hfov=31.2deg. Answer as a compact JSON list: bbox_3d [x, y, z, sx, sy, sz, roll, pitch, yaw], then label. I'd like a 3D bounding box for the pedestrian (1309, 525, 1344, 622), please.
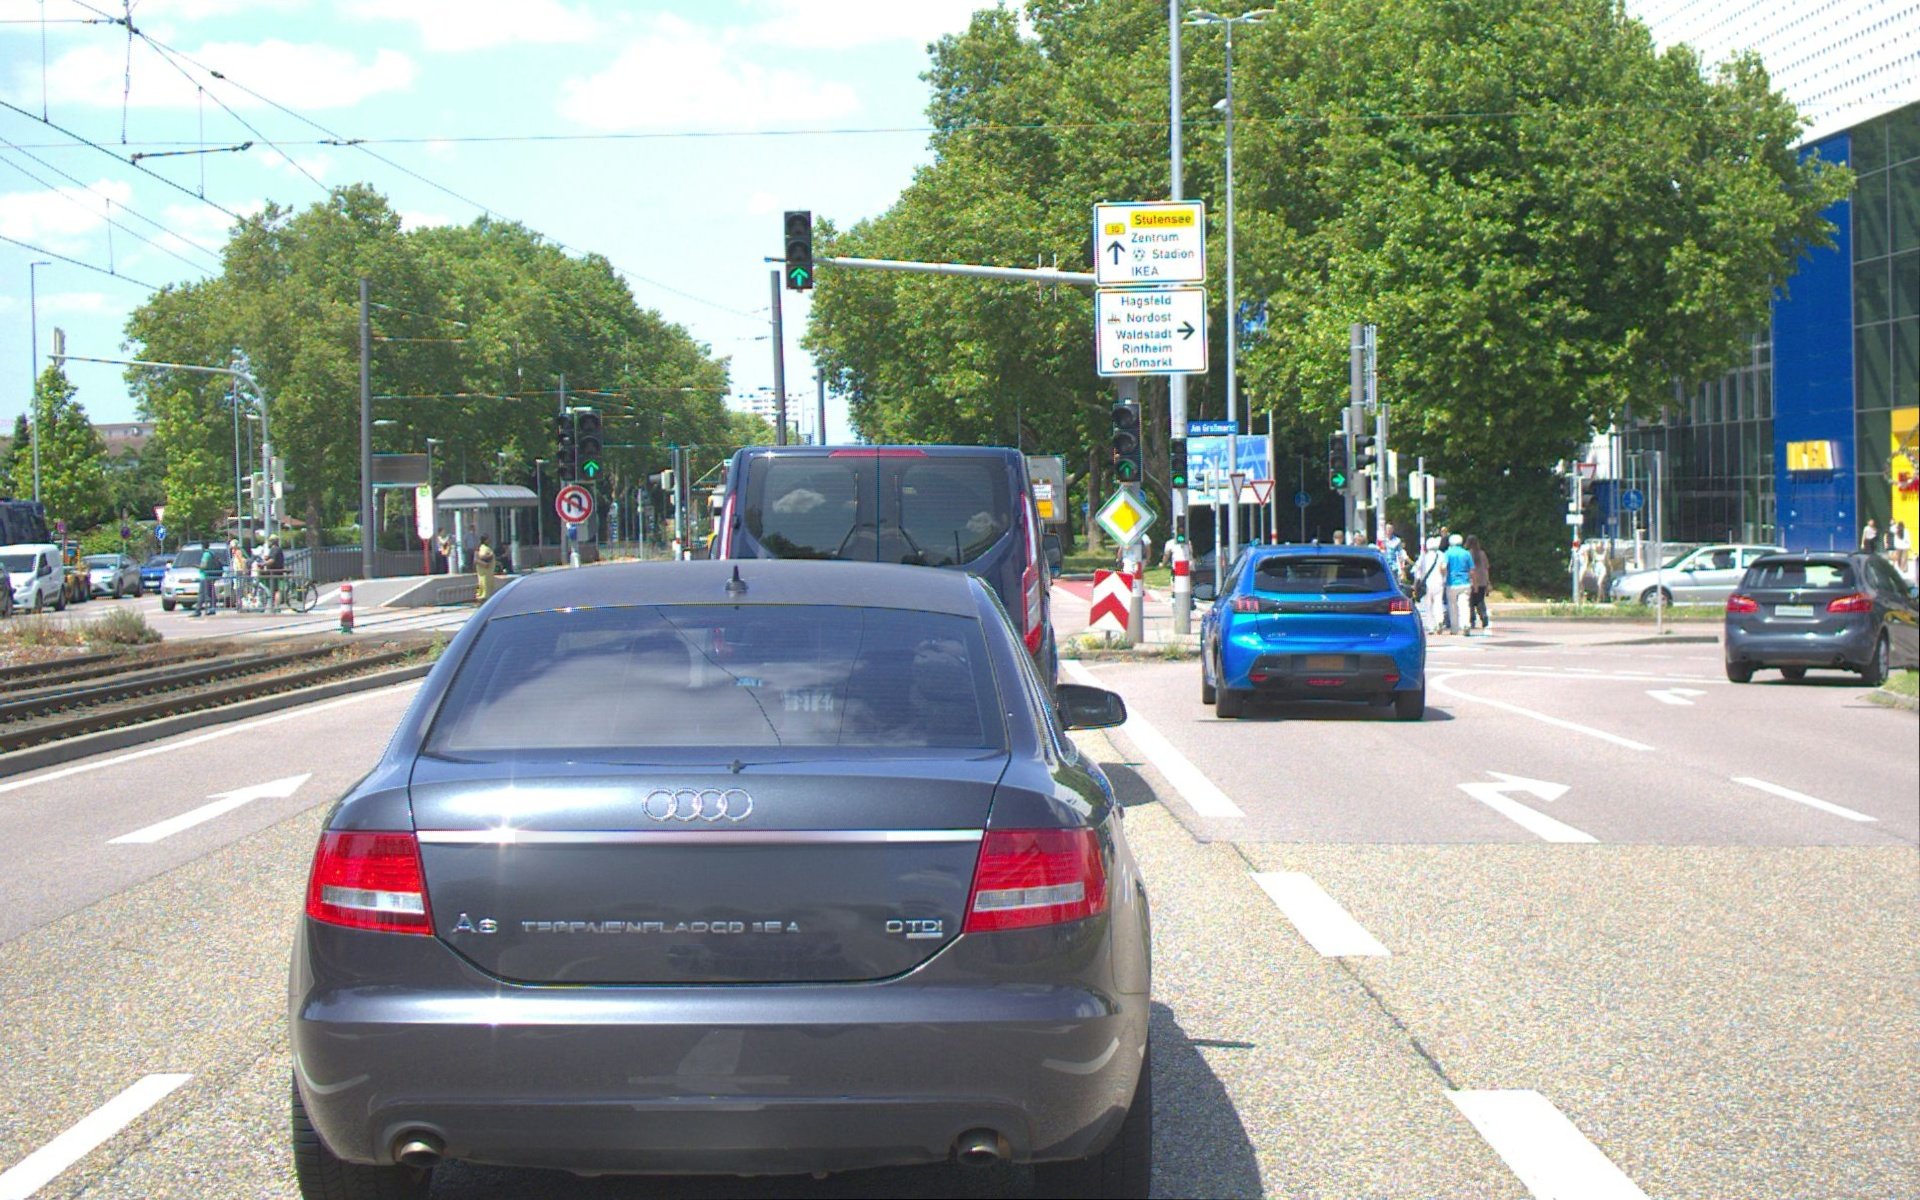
[{"bbox_3d":[6.142,-0.447,57.654,0.554,1.629,0.433,0,1,3],"label":"pedestrian"}]

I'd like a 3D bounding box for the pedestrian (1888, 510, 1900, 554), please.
[{"bbox_3d":[28.469,-2.075,104.790,0.288,1.338,0.266,0,1,0],"label":"pedestrian"}]

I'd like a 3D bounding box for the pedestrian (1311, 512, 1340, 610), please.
[{"bbox_3d":[6.112,-0.651,57.492,0.445,1.629,0.430,0,1,3],"label":"pedestrian"}]

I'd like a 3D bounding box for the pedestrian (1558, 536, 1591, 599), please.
[{"bbox_3d":[15.310,-0.814,85.620,0.705,1.539,0.677,1,1,19],"label":"pedestrian"}]

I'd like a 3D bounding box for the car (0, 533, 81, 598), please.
[{"bbox_3d":[-25.015,-0.941,91.875,1.822,1.664,4.461,1,1,1],"label":"car"}]

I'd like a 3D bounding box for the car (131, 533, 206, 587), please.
[{"bbox_3d":[-28.319,-1.439,123.052,1.817,1.876,4.000,0,1,-1],"label":"car"}]

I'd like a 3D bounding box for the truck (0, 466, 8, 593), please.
[{"bbox_3d":[-28.350,-1.942,94.246,2.767,3.557,6.440,0,1,-1],"label":"truck"}]

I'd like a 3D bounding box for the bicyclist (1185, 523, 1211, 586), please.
[{"bbox_3d":[4.482,-0.855,64.766,0.470,1.189,0.791,0,1,2],"label":"bicyclist"}]

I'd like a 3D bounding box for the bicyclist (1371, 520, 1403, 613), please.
[{"bbox_3d":[8.144,-0.646,65.597,0.529,1.758,0.827,0,1,13],"label":"bicyclist"}]

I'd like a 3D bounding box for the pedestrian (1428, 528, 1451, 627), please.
[{"bbox_3d":[7.882,-0.369,56.528,0.320,1.629,0.377,0,1,3],"label":"pedestrian"}]

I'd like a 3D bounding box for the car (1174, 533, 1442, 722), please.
[{"bbox_3d":[2.912,0.184,29.545,1.837,1.449,4.000,1,1,0],"label":"car"}]

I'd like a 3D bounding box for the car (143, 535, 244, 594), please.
[{"bbox_3d":[-22.677,-1.060,101.880,1.822,1.664,4.461,1,1,2],"label":"car"}]

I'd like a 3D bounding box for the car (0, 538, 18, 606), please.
[{"bbox_3d":[-24.826,-0.693,85.028,1.822,1.664,4.461,1,1,0],"label":"car"}]

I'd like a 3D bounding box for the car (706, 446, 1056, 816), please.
[{"bbox_3d":[-0.441,0.130,20.082,1.836,1.943,4.000,0,1,-1],"label":"car"}]

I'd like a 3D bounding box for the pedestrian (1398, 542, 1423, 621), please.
[{"bbox_3d":[7.410,-0.311,56.584,0.372,1.299,0.365,0,1,3],"label":"pedestrian"}]

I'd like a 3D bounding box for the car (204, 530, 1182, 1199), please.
[{"bbox_3d":[-0.502,0.572,8.337,1.792,1.450,4.000,0,1,0],"label":"car"}]

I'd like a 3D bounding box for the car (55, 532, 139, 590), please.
[{"bbox_3d":[-28.449,-1.289,113.405,1.817,1.876,4.000,0,1,-1],"label":"car"}]

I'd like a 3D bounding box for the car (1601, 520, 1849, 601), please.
[{"bbox_3d":[15.157,-0.806,68.310,4.498,1.481,2.000,1,1,3],"label":"car"}]

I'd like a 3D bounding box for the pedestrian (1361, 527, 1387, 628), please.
[{"bbox_3d":[6.715,-0.372,55.719,0.381,1.629,0.377,0,1,3],"label":"pedestrian"}]

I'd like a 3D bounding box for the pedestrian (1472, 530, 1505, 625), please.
[{"bbox_3d":[9.307,-0.401,60.549,0.521,1.664,0.494,0,1,3],"label":"pedestrian"}]

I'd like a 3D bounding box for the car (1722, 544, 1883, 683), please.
[{"bbox_3d":[9.920,0.117,40.686,1.762,1.521,4.097,0,1,13],"label":"car"}]

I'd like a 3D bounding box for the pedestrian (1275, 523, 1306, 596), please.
[{"bbox_3d":[6.907,-0.841,71.842,0.494,1.514,0.706,1,1,17],"label":"pedestrian"}]

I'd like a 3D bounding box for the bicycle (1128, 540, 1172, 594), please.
[{"bbox_3d":[3.637,-0.640,65.932,0.688,0.990,2.752,0,1,0],"label":"bicycle"}]

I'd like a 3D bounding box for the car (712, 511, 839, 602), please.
[{"bbox_3d":[-3.170,-0.781,59.838,1.993,1.481,4.000,1,1,0],"label":"car"}]

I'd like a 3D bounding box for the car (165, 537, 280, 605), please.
[{"bbox_3d":[-18.899,-0.770,88.282,1.822,1.664,4.461,1,1,2],"label":"car"}]

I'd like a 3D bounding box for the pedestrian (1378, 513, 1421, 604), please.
[{"bbox_3d":[8.967,-0.855,70.151,0.685,1.840,0.706,1,1,25],"label":"pedestrian"}]

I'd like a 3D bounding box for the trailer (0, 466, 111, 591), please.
[{"bbox_3d":[-28.452,-2.118,102.111,2.767,3.506,15.879,0,1,-1],"label":"trailer"}]

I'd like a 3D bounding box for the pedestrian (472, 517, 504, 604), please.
[{"bbox_3d":[-10.927,-0.913,79.610,0.685,2.007,0.573,0,1,-4],"label":"pedestrian"}]

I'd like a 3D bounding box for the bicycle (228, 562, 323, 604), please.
[{"bbox_3d":[-15.263,-0.384,76.711,2.055,0.922,0.753,0,1,-10],"label":"bicycle"}]

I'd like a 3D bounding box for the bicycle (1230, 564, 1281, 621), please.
[{"bbox_3d":[5.461,-0.154,63.615,0.688,1.002,2.752,0,1,0],"label":"bicycle"}]

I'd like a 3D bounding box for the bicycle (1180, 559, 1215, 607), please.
[{"bbox_3d":[4.477,-0.318,64.841,0.550,0.874,1.697,0,1,0],"label":"bicycle"}]

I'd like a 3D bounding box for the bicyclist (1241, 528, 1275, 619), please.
[{"bbox_3d":[5.517,-0.494,63.606,0.528,1.670,1.088,0,1,0],"label":"bicyclist"}]

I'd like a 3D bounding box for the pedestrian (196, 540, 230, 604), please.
[{"bbox_3d":[-16.843,-0.628,77.519,0.685,1.438,0.573,0,1,-4],"label":"pedestrian"}]

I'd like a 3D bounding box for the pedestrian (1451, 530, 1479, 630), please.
[{"bbox_3d":[8.306,-0.336,56.530,0.398,1.629,0.371,0,1,3],"label":"pedestrian"}]

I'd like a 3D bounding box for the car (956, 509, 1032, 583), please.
[{"bbox_3d":[1.065,-1.741,110.448,1.993,2.301,4.776,0,1,-5],"label":"car"}]

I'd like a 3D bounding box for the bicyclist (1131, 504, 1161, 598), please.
[{"bbox_3d":[3.559,-0.933,65.770,0.528,1.783,1.088,0,1,0],"label":"bicyclist"}]

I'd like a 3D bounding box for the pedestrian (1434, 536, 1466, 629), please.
[{"bbox_3d":[8.642,-0.307,60.594,0.504,1.629,0.449,0,1,3],"label":"pedestrian"}]

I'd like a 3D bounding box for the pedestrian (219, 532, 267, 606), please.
[{"bbox_3d":[-16.748,-0.722,80.315,0.824,1.714,0.774,1,1,22],"label":"pedestrian"}]
